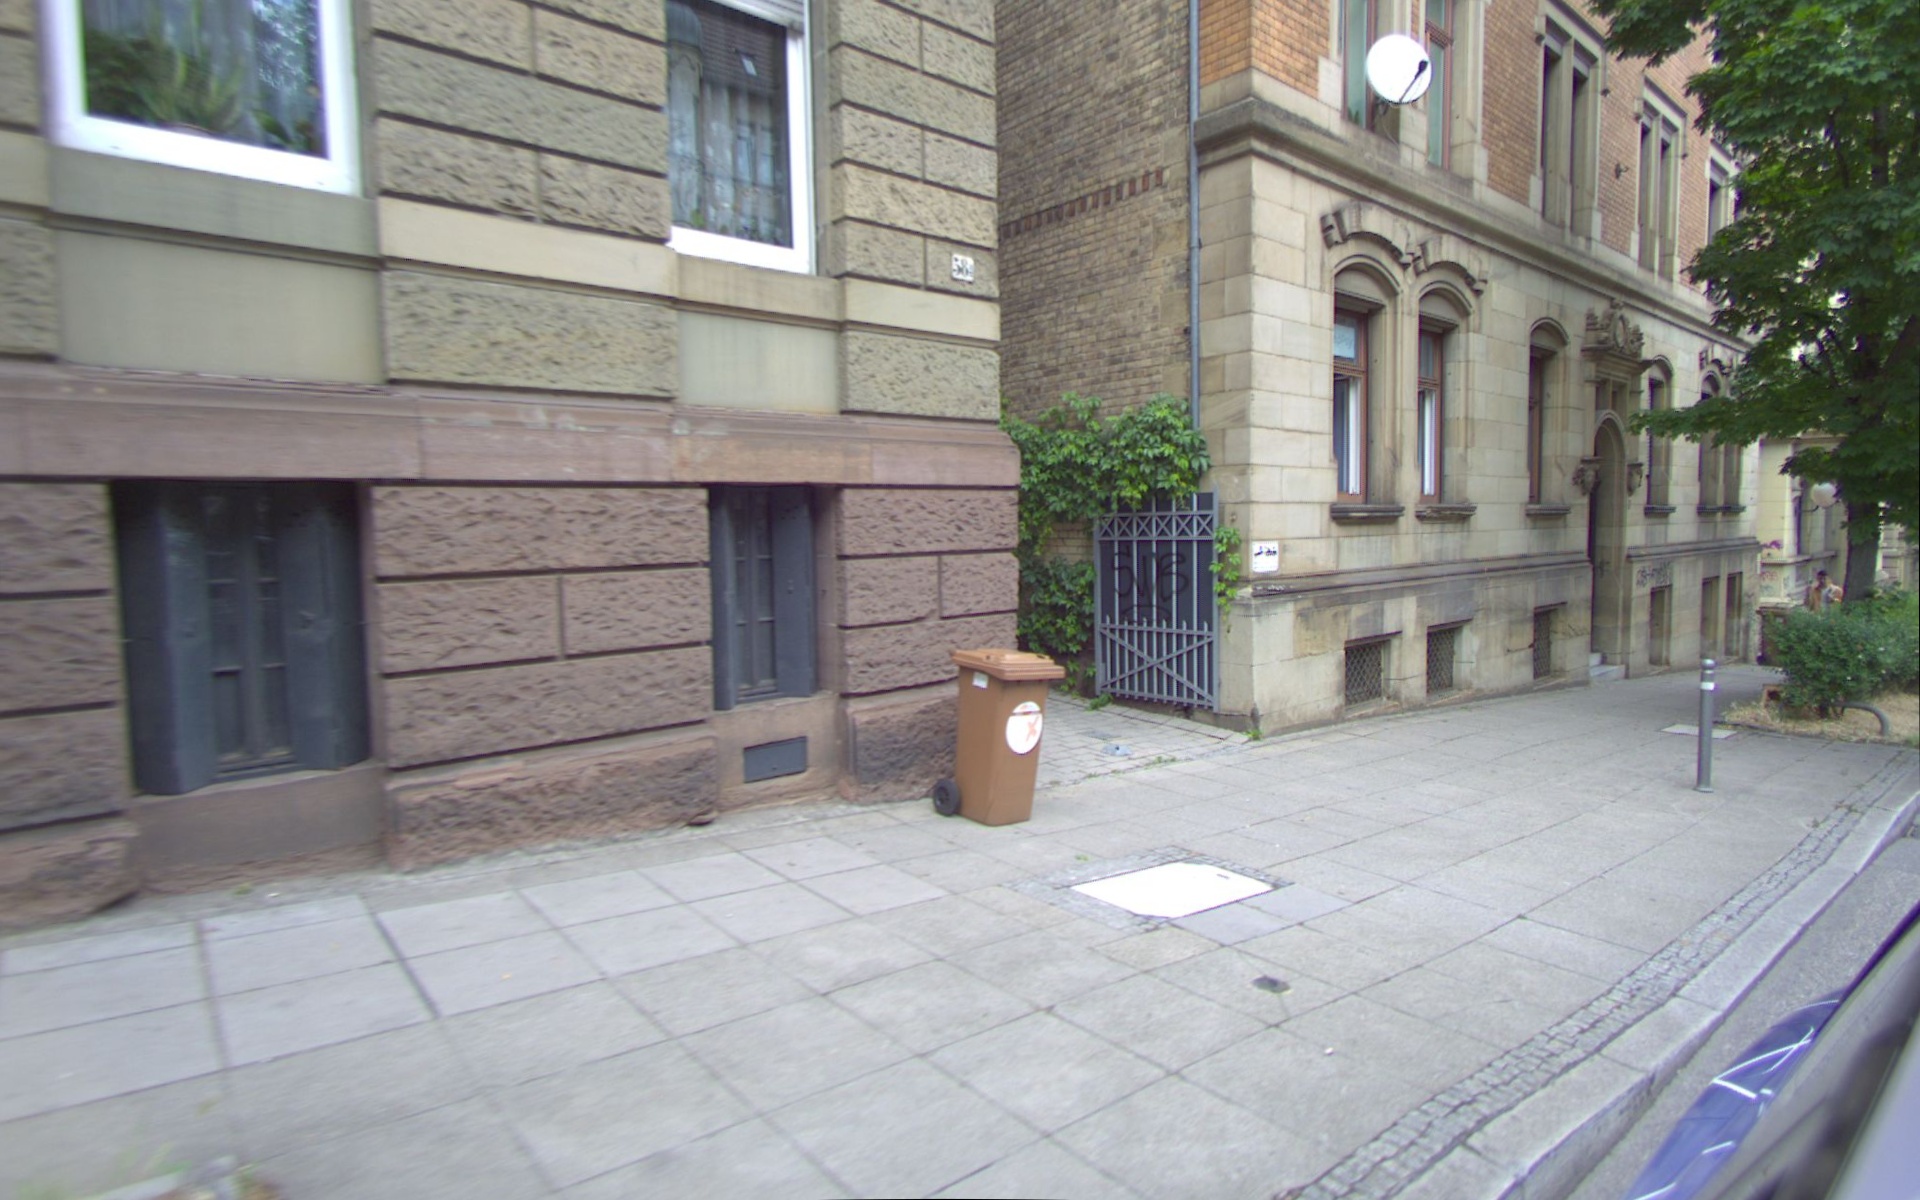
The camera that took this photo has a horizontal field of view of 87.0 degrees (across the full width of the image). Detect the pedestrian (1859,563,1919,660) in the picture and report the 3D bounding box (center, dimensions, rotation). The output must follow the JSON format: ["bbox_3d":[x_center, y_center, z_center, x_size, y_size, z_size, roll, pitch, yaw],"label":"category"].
[{"bbox_3d":[16.462,0.181,17.823,1.195,1.592,0.687,-3,6,-40],"label":"pedestrian"}]

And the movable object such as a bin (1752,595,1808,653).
[{"bbox_3d":[15.519,0.456,19.159,0.572,1.028,0.672,3,2,-42],"label":"movable object such as a bin"}]

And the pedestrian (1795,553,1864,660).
[{"bbox_3d":[15.927,0.097,18.528,1.102,1.851,0.687,-3,6,-40],"label":"pedestrian"}]

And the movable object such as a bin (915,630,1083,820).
[{"bbox_3d":[0.211,0.657,5.628,0.572,0.908,0.672,3,2,-42],"label":"movable object such as a bin"}]
